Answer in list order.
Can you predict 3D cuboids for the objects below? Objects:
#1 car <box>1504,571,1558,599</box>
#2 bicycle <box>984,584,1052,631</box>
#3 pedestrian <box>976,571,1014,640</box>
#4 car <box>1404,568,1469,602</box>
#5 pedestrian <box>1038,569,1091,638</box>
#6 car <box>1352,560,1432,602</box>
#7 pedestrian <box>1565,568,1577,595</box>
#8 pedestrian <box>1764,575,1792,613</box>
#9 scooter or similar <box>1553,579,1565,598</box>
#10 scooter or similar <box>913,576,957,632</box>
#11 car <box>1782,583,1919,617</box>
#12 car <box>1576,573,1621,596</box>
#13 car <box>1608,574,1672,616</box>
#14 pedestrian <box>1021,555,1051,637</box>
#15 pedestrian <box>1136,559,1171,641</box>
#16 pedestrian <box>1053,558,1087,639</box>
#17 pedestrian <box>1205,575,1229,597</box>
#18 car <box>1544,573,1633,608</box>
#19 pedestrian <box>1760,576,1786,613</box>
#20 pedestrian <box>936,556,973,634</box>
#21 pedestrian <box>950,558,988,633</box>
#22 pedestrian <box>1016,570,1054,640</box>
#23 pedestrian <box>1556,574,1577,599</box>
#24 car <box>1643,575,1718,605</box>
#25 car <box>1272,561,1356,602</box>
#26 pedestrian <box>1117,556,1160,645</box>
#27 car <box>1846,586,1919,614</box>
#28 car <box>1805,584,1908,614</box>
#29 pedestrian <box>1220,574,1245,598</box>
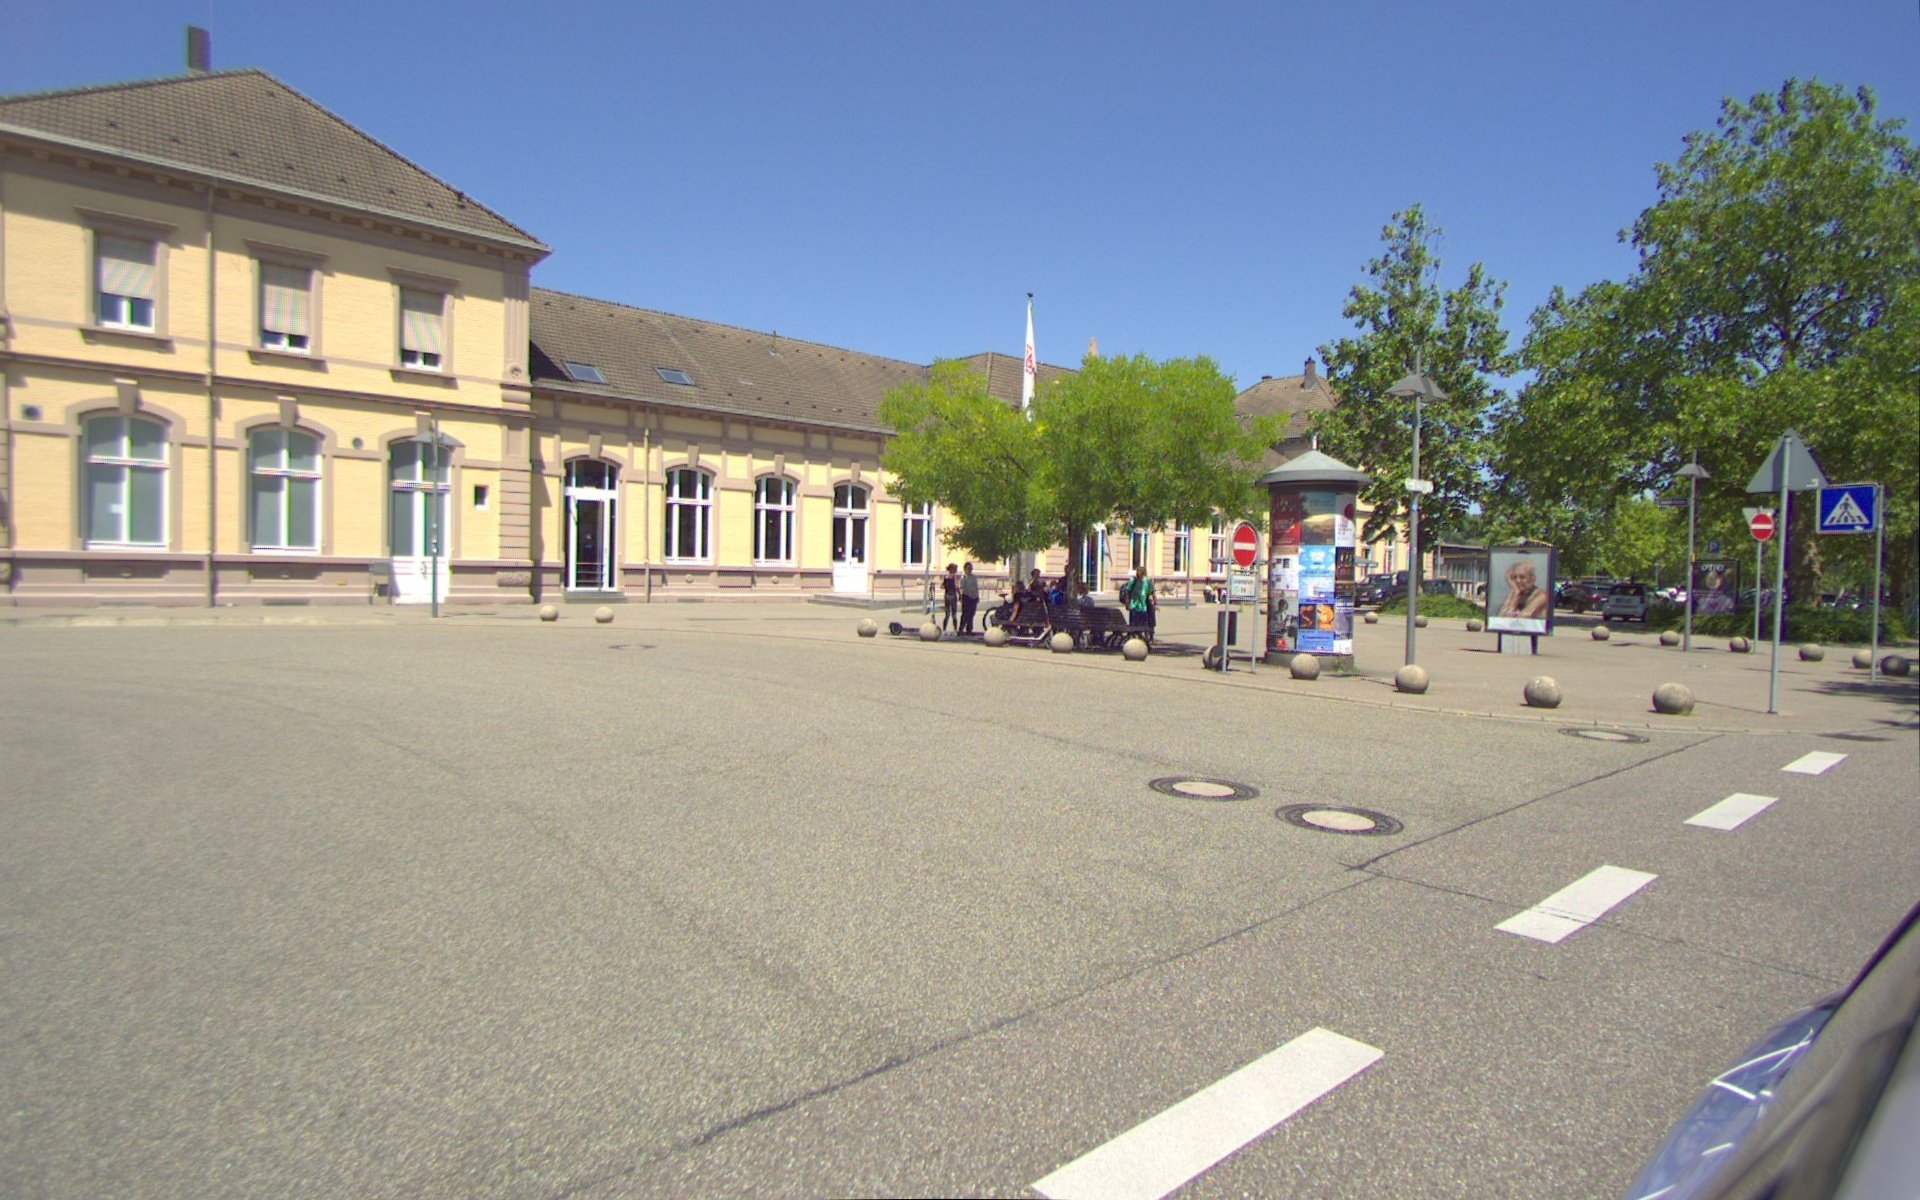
[{"bbox_3d":[38.901,-1.011,68.903,1.998,1.863,5.234,0,1,44],"label":"car"},{"bbox_3d":[1.408,0.162,24.460,1.916,1.073,0.421,-1,2,-43],"label":"bicycle"},{"bbox_3d":[0.717,0.095,20.847,0.592,1.381,0.596,2,1,21],"label":"pedestrian"},{"bbox_3d":[28.288,-0.871,59.979,2.074,1.863,4.763,1,1,44],"label":"car"},{"bbox_3d":[2.217,0.047,21.434,0.901,1.403,0.938,2,1,20],"label":"pedestrian"},{"bbox_3d":[23.489,-1.005,54.956,2.087,2.151,5.733,1,1,44],"label":"car"},{"bbox_3d":[45.399,-1.367,75.200,0.627,2.015,0.607,0,0,44],"label":"pedestrian"},{"bbox_3d":[39.381,-0.312,48.736,0.831,1.792,0.843,2,2,29],"label":"pedestrian"},{"bbox_3d":[35.861,-0.666,60.593,0.395,1.115,0.438,1,1,-6],"label":"scooter or similar"},{"bbox_3d":[-0.549,0.079,21.759,1.024,1.153,0.290,2,2,43],"label":"scooter or similar"},{"bbox_3d":[42.263,-0.045,48.080,4.739,1.434,1.767,2,2,31],"label":"car"},{"bbox_3d":[53.001,-1.307,83.982,4.172,1.812,1.997,-1,1,-40],"label":"car"},{"bbox_3d":[28.099,-0.224,41.809,1.598,1.613,3.056,3,2,45],"label":"car"},{"bbox_3d":[1.673,-0.098,22.202,0.506,1.761,0.567,1,1,20],"label":"pedestrian"},{"bbox_3d":[4.255,-0.015,22.233,0.621,1.761,0.543,2,1,24],"label":"pedestrian"},{"bbox_3d":[2.436,-0.044,22.410,0.579,1.761,0.595,2,1,24],"label":"pedestrian"},{"bbox_3d":[13.534,-0.726,53.323,0.838,1.093,0.880,0,3,-45],"label":"pedestrian"},{"bbox_3d":[31.433,-0.530,50.749,1.768,1.561,4.529,0,3,3],"label":"car"},{"bbox_3d":[39.882,-0.277,49.635,0.832,1.792,0.843,2,2,31],"label":"pedestrian"},{"bbox_3d":[-0.124,-0.120,22.777,0.552,1.706,0.579,2,2,37],"label":"pedestrian"},{"bbox_3d":[0.212,-0.118,23.420,0.616,1.706,0.583,2,2,37],"label":"pedestrian"},{"bbox_3d":[1.521,0.086,20.444,0.592,1.381,0.596,2,1,21],"label":"pedestrian"},{"bbox_3d":[35.935,-0.783,59.981,0.785,1.442,0.692,1,1,-6],"label":"pedestrian"},{"bbox_3d":[43.725,-0.650,61.537,1.768,1.624,4.061,0,3,4],"label":"car"},{"bbox_3d":[17.648,-0.885,50.322,5.052,1.889,1.811,1,1,-43],"label":"car"},{"bbox_3d":[3.673,-0.010,20.790,0.687,1.785,0.579,2,1,29],"label":"pedestrian"},{"bbox_3d":[52.847,0.016,57.134,3.831,1.478,1.625,2,2,22],"label":"car"},{"bbox_3d":[49.204,-0.065,55.606,3.831,1.478,1.625,2,2,22],"label":"car"},{"bbox_3d":[14.179,-0.713,52.639,0.838,1.176,0.880,0,3,-45],"label":"pedestrian"}]
